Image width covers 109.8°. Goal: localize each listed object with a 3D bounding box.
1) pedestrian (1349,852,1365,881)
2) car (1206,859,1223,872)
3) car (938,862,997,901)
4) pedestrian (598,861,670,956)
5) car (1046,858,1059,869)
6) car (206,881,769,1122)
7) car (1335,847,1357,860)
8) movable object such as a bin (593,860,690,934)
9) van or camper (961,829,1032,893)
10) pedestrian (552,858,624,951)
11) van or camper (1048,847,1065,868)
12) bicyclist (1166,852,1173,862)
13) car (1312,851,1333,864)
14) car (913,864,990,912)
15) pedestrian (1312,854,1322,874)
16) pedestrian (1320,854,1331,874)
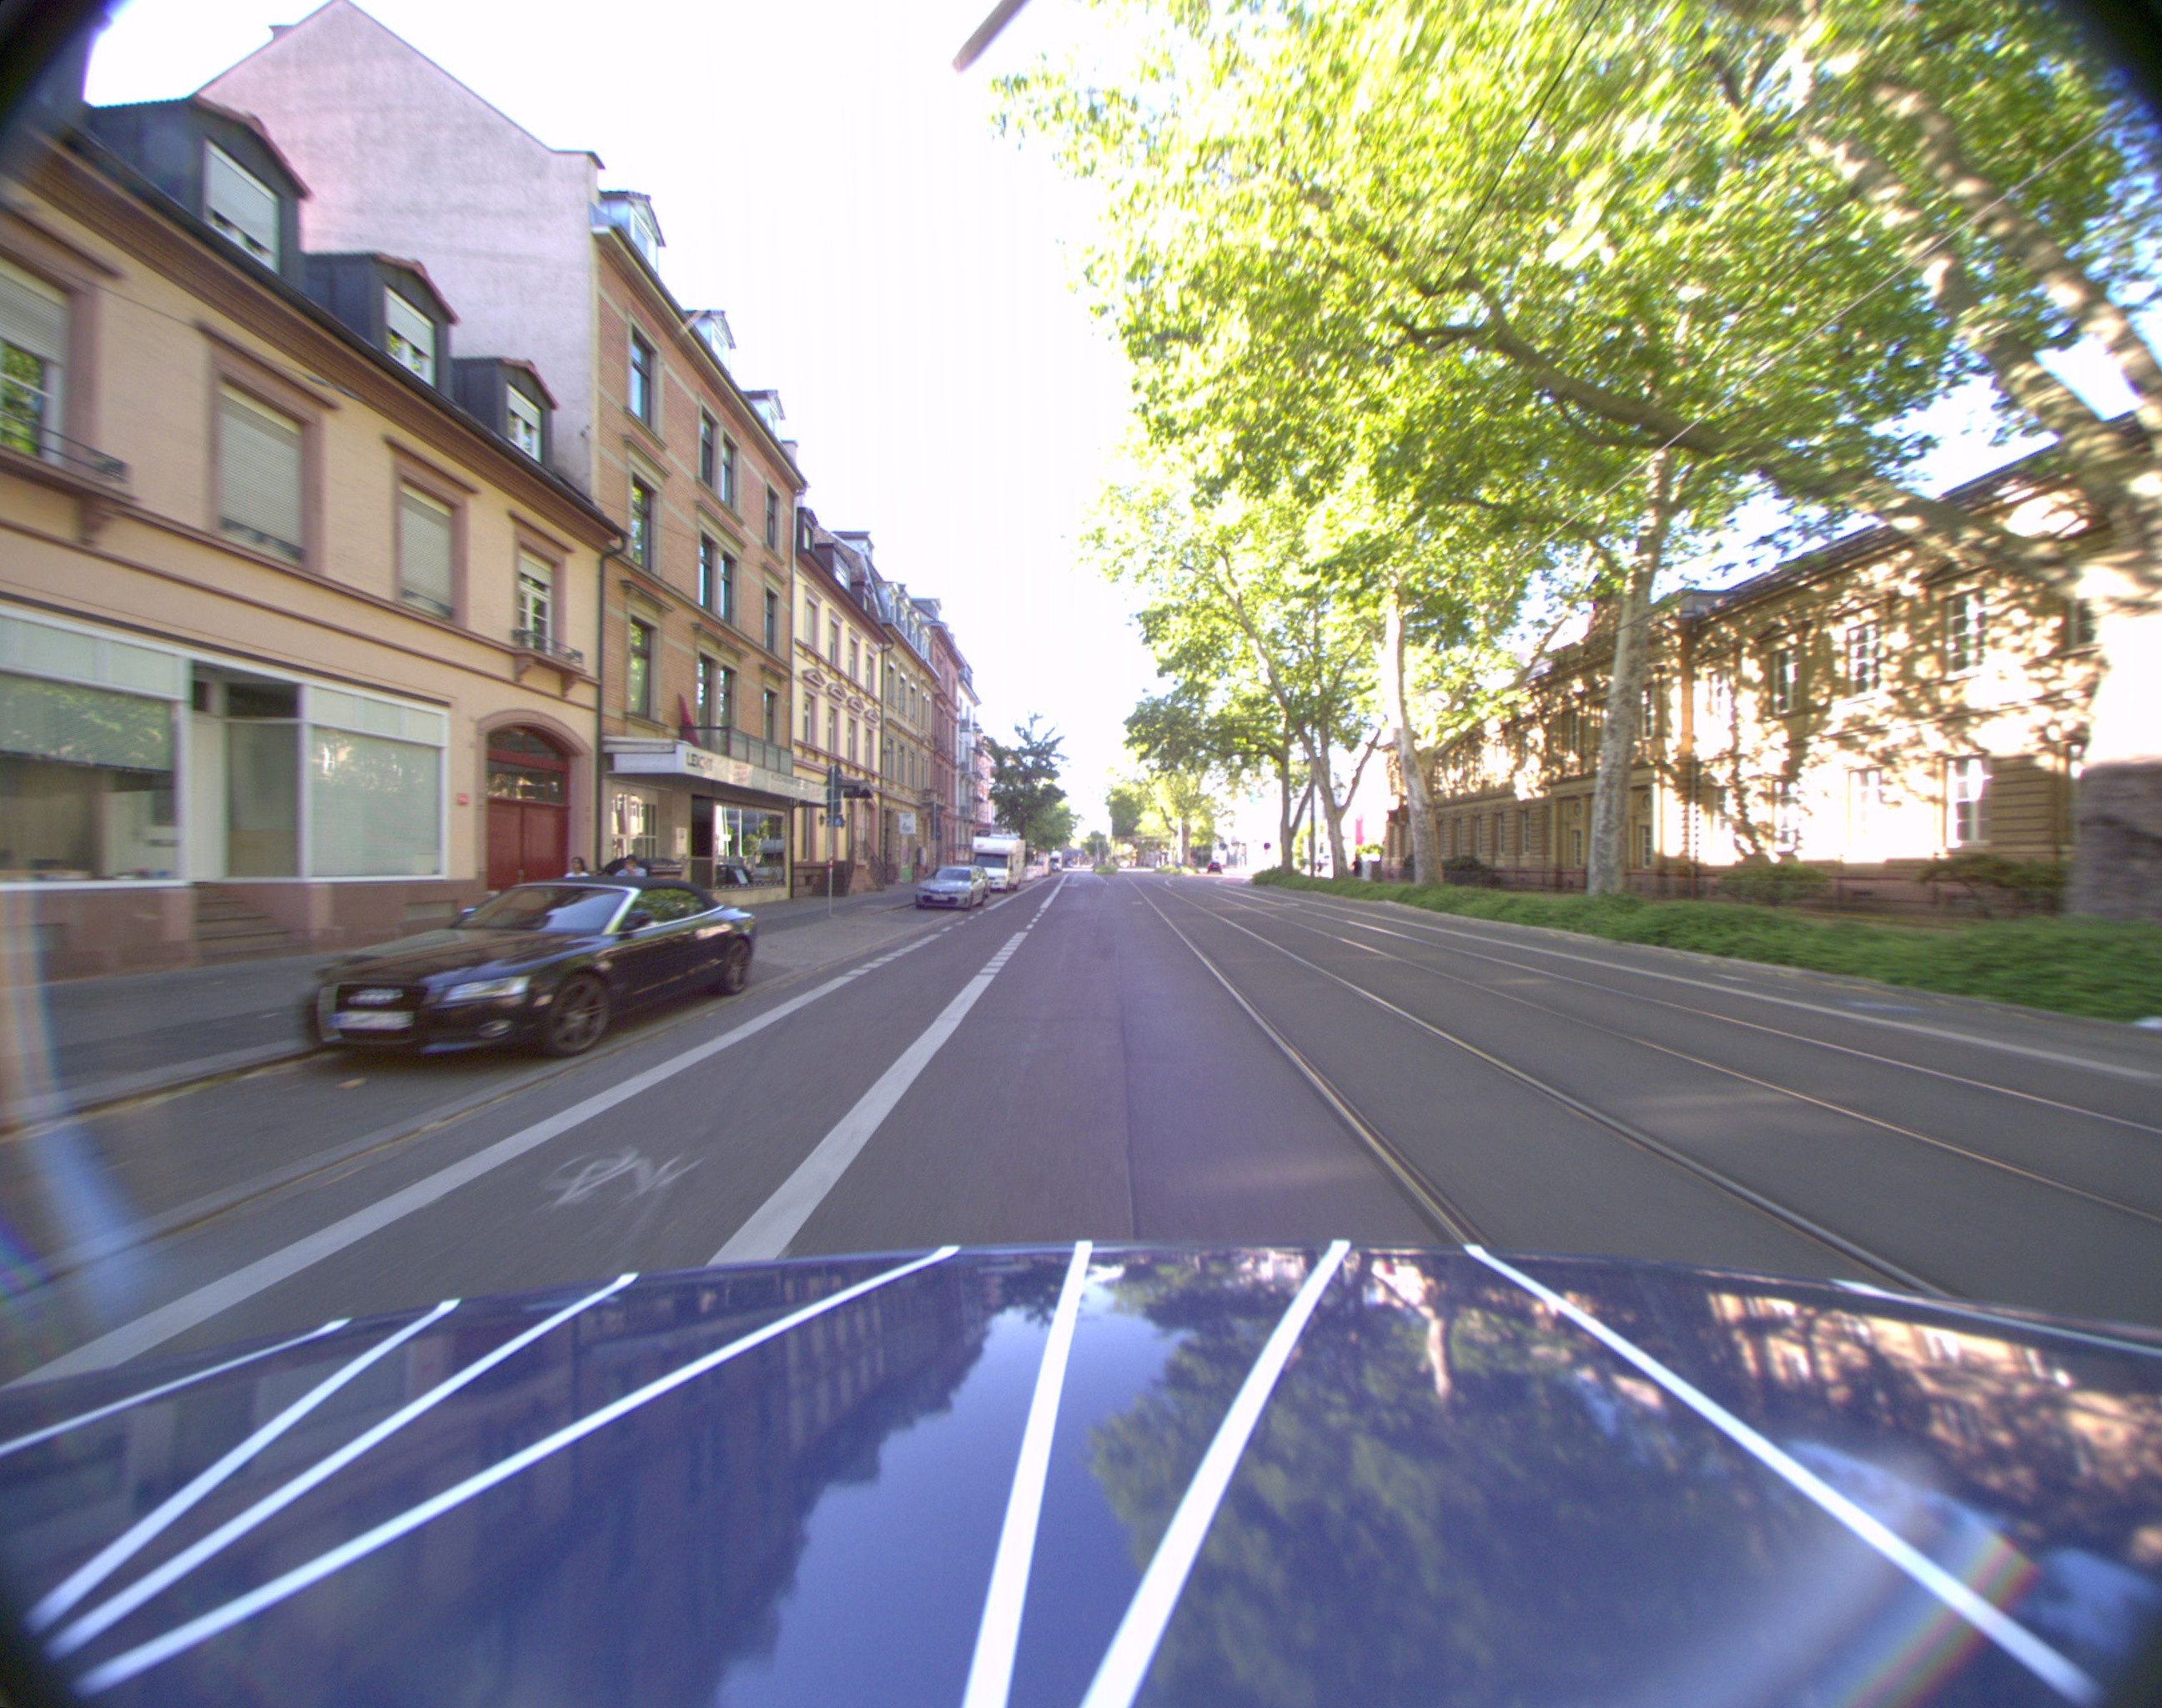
[{"bbox_3d":[17.777,0.801,48.920,0.721,1.838,0.837,-1,0,-2],"label":"pedestrian"},{"bbox_3d":[17.228,1.455,98.258,1.870,1.620,4.563,0,-1,6],"label":"car"},{"bbox_3d":[-4.707,1.104,31.955,1.648,1.425,4.029,3,0,2],"label":"car"},{"bbox_3d":[-7.330,0.864,12.495,0.662,1.496,0.866,1,0,0],"label":"pedestrian"},{"bbox_3d":[-3.893,1.297,104.914,1.656,1.439,3.801,1,0,-1],"label":"car"},{"bbox_3d":[-4.839,1.042,7.239,1.698,1.384,4.495,1,0,2],"label":"car"},{"bbox_3d":[37.632,-0.100,108.023,1.852,1.742,4.000,-1,0,1],"label":"car"},{"bbox_3d":[-9.354,0.887,16.233,1.296,1.511,1.286,-1,0,1],"label":"movable object such as a bin"},{"bbox_3d":[-4.376,0.339,40.996,2.483,2.954,7.885,3,0,2],"label":"van or camper"},{"bbox_3d":[-8.185,0.817,12.632,0.659,1.474,0.785,-1,0,0],"label":"pedestrian"},{"bbox_3d":[-3.659,0.526,115.128,2.172,3.074,7.290,1,0,1],"label":"van or camper"},{"bbox_3d":[15.146,0.515,130.388,1.007,1.567,0.760,-1,0,0],"label":"bicyclist"},{"bbox_3d":[34.428,0.433,108.444,1.852,1.807,4.000,-1,0,1],"label":"car"},{"bbox_3d":[-4.411,1.104,26.618,1.814,1.426,4.665,1,0,1],"label":"car"},{"bbox_3d":[19.861,0.847,63.901,0.636,1.687,0.656,-1,1,-6],"label":"pedestrian"},{"bbox_3d":[20.555,0.840,63.981,0.673,1.687,0.661,-1,1,-6],"label":"pedestrian"}]
